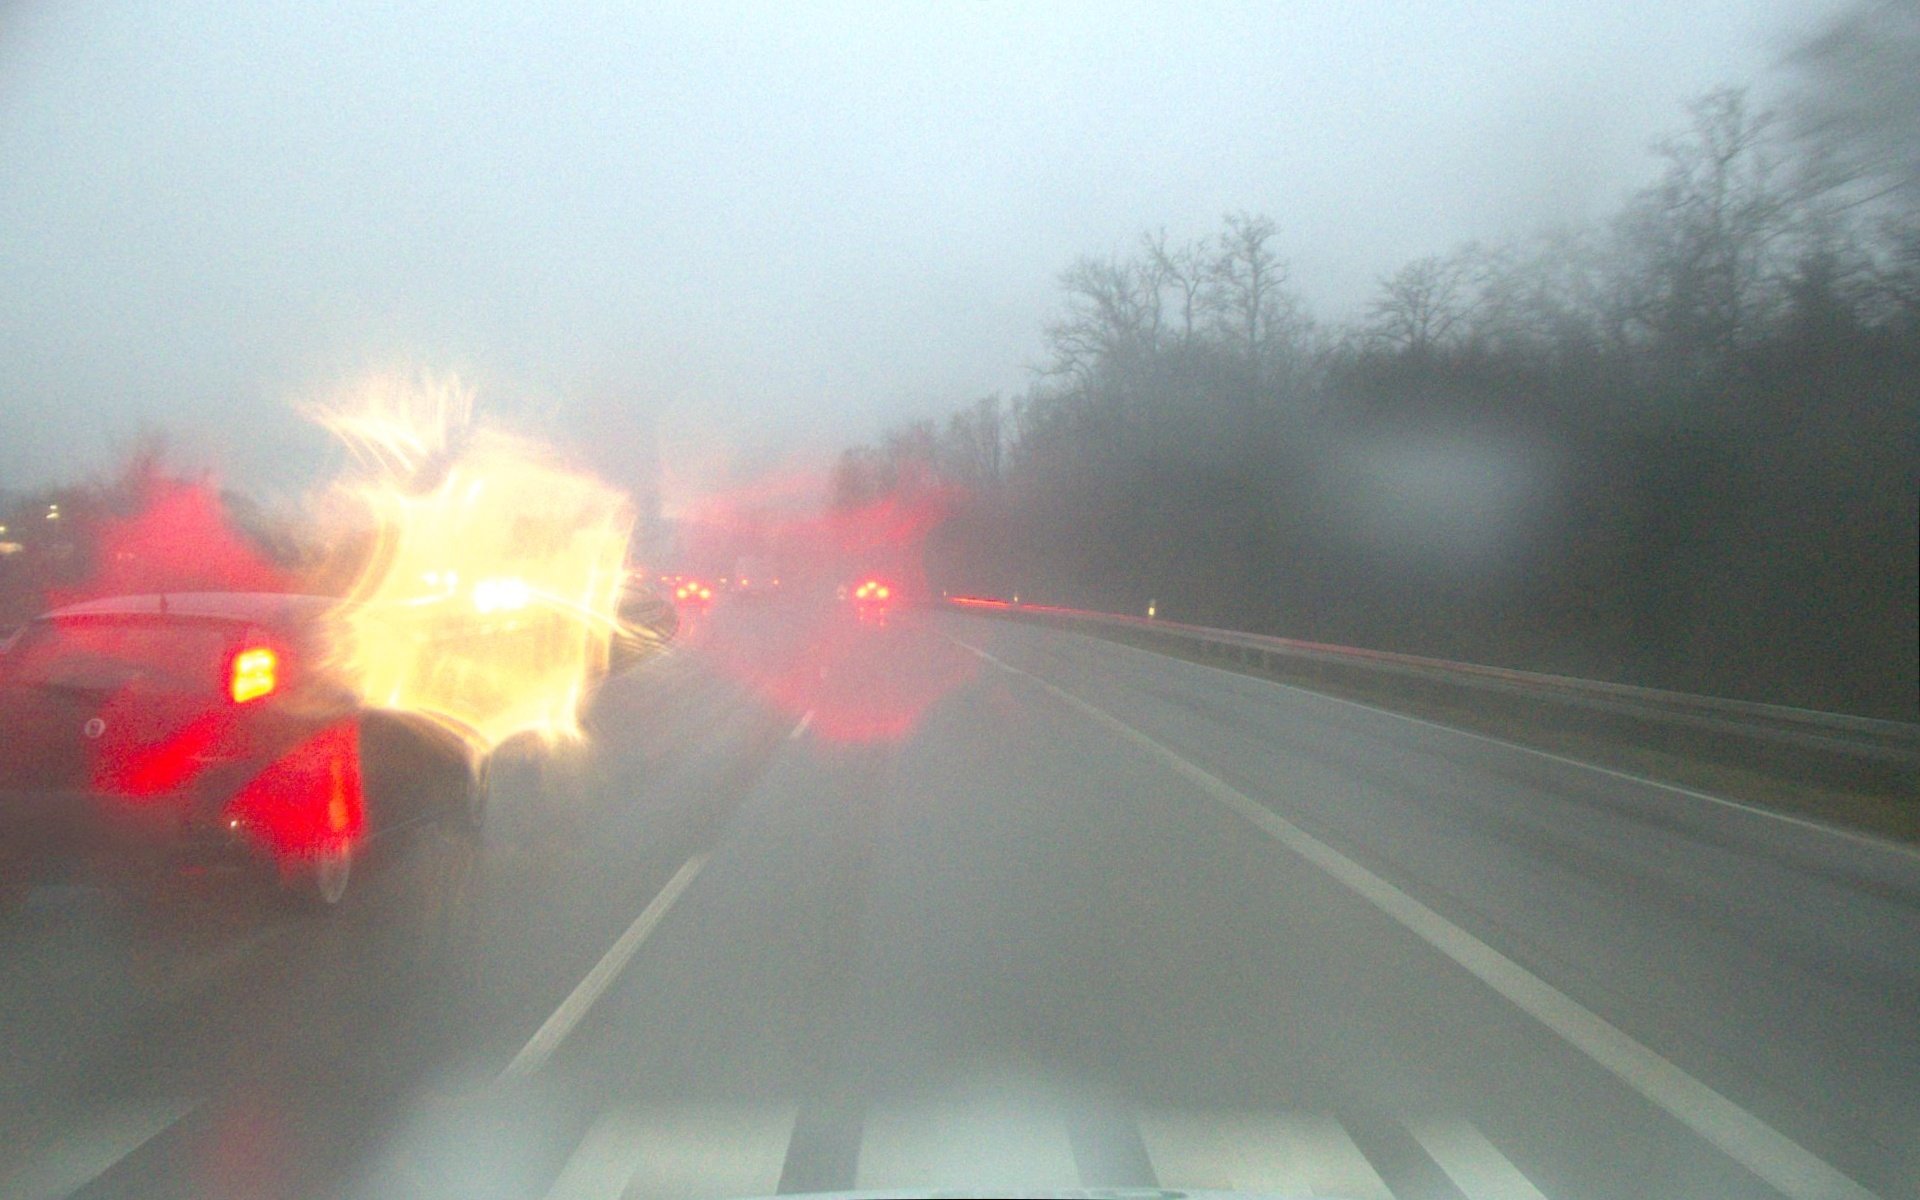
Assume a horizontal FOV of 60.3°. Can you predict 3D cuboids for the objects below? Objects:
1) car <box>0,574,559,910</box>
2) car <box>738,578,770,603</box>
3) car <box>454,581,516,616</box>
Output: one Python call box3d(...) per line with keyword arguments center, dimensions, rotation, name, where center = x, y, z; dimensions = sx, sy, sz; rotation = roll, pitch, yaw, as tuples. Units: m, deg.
box3d(center=(-3.456, 0.643, 9.171), dimensions=(1.593, 1.416, 3.998), rotation=(2, -1, -2), name="car")
box3d(center=(-11.855, -0.521, 95.207), dimensions=(1.387, 1.340, 3.082), rotation=(2, 0, 0), name="car")
box3d(center=(-23.896, -0.099, 83.415), dimensions=(1.757, 1.713, 4.689), rotation=(0, 0, 0), name="car")
